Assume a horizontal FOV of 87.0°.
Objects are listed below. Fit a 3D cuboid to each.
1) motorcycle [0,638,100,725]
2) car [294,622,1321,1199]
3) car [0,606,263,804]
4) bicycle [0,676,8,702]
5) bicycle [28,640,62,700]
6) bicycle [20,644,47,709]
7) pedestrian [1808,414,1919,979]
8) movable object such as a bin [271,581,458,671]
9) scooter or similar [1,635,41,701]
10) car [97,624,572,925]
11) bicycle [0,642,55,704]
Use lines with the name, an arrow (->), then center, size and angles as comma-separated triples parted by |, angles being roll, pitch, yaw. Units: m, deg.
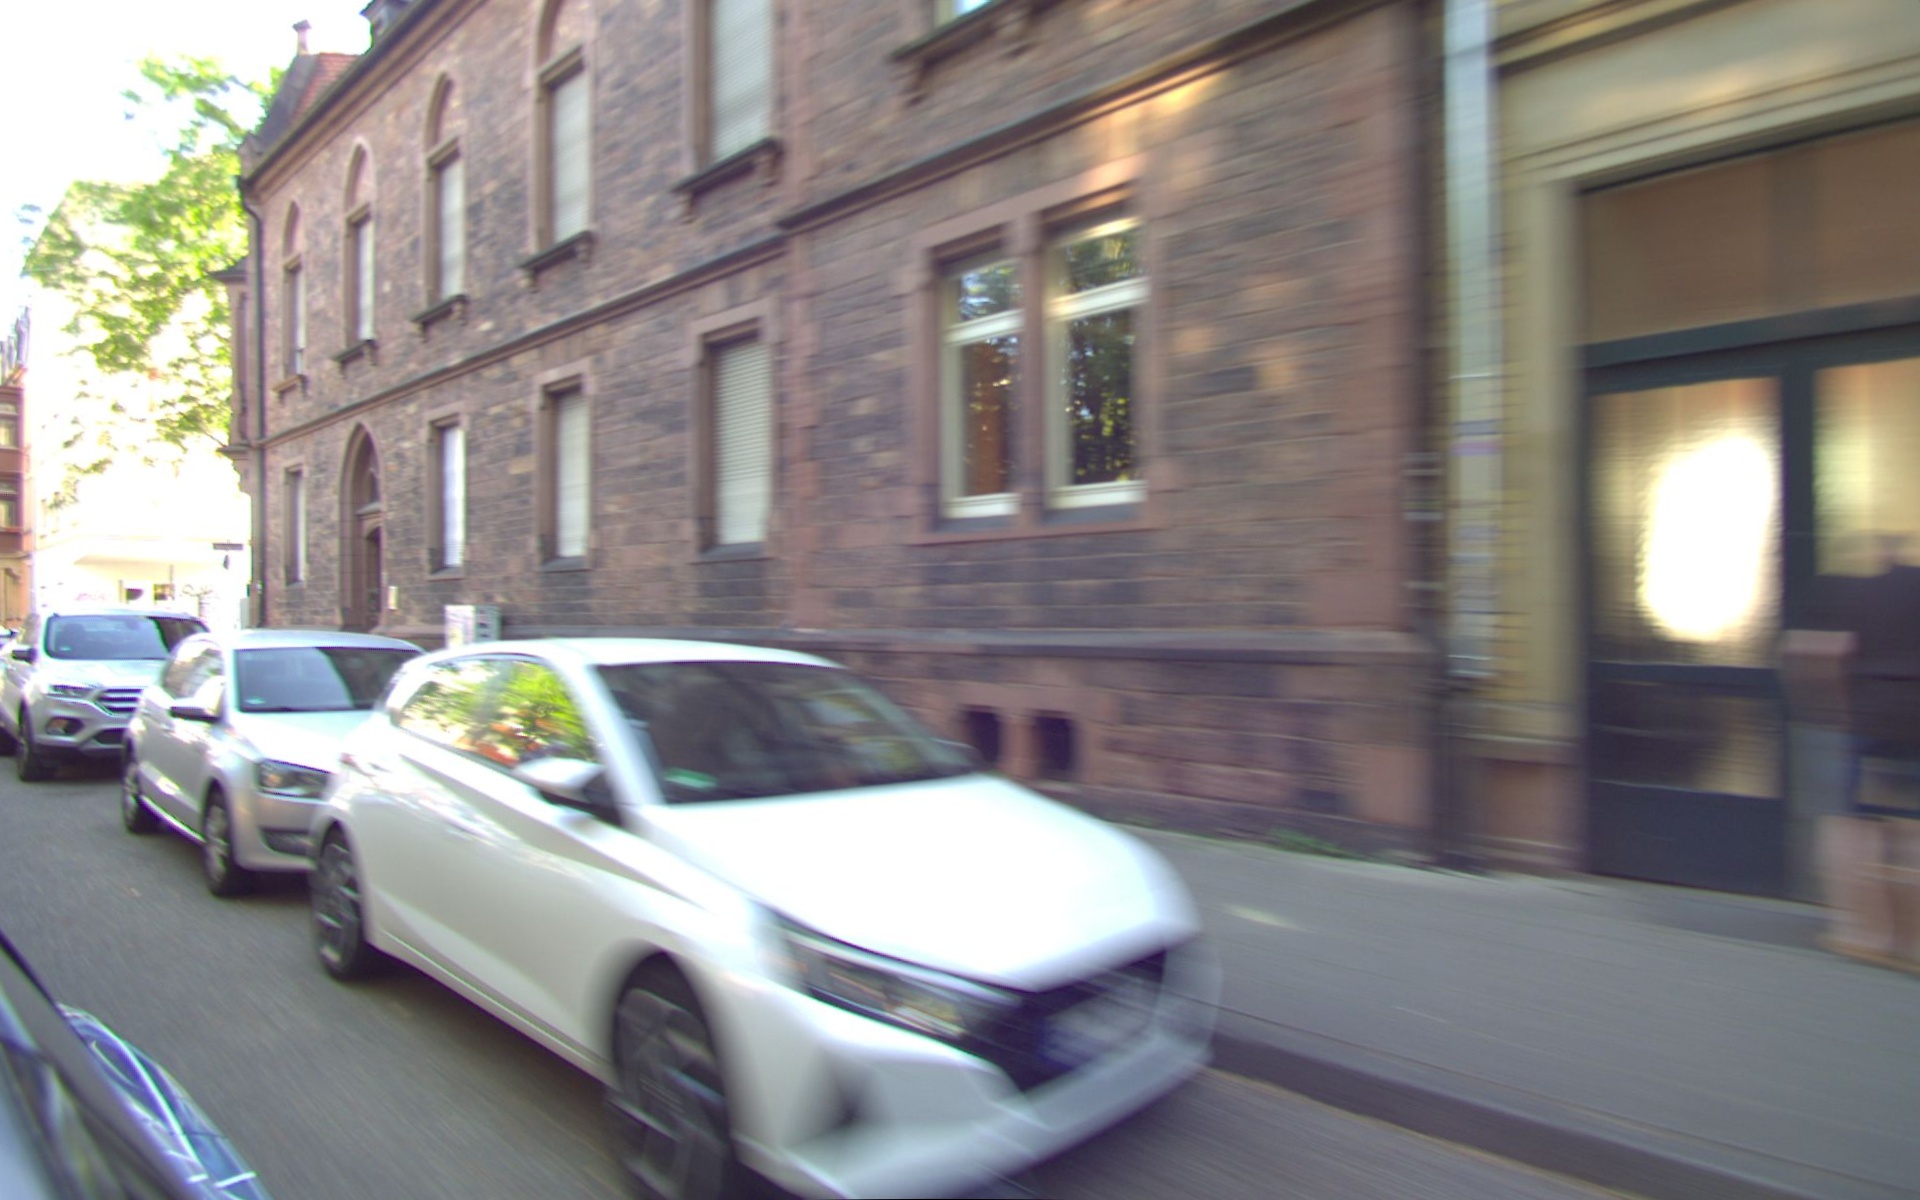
motorcycle -> -14.492, 1.218, 15.303 | 2.292, 1.260, 0.702 | 0, -1, -4
car -> -0.872, 0.828, 3.726 | 3.802, 1.428, 1.690 | -1, -3, 42
car -> -9.003, 0.951, 10.706 | 4.277, 1.687, 1.690 | -1, -3, 42
bicycle -> -17.857, 1.642, 18.533 | 1.196, 0.446, 0.446 | -4, -2, 38
bicycle -> -16.622, 1.268, 18.378 | 1.196, 1.050, 0.231 | -4, -2, 38
bicycle -> -15.878, 1.291, 17.351 | 0.230, 1.050, 1.200 | -1, -1, -38
pedestrian -> 3.648, 0.328, 3.697 | 0.762, 1.943, 0.759 | -1, -1, 37
movable object such as a bin -> -19.845, 0.786, 33.878 | 2.001, 2.768, 5.080 | 1, 1, 45
scooter or similar -> -17.679, 1.290, 19.049 | 1.164, 1.183, 0.440 | -5, -3, 41
car -> -4.364, 0.910, 6.829 | 3.802, 1.428, 1.690 | -1, -3, 42
bicycle -> -16.587, 1.262, 17.510 | 1.660, 1.050, 0.234 | -1, 1, 1
